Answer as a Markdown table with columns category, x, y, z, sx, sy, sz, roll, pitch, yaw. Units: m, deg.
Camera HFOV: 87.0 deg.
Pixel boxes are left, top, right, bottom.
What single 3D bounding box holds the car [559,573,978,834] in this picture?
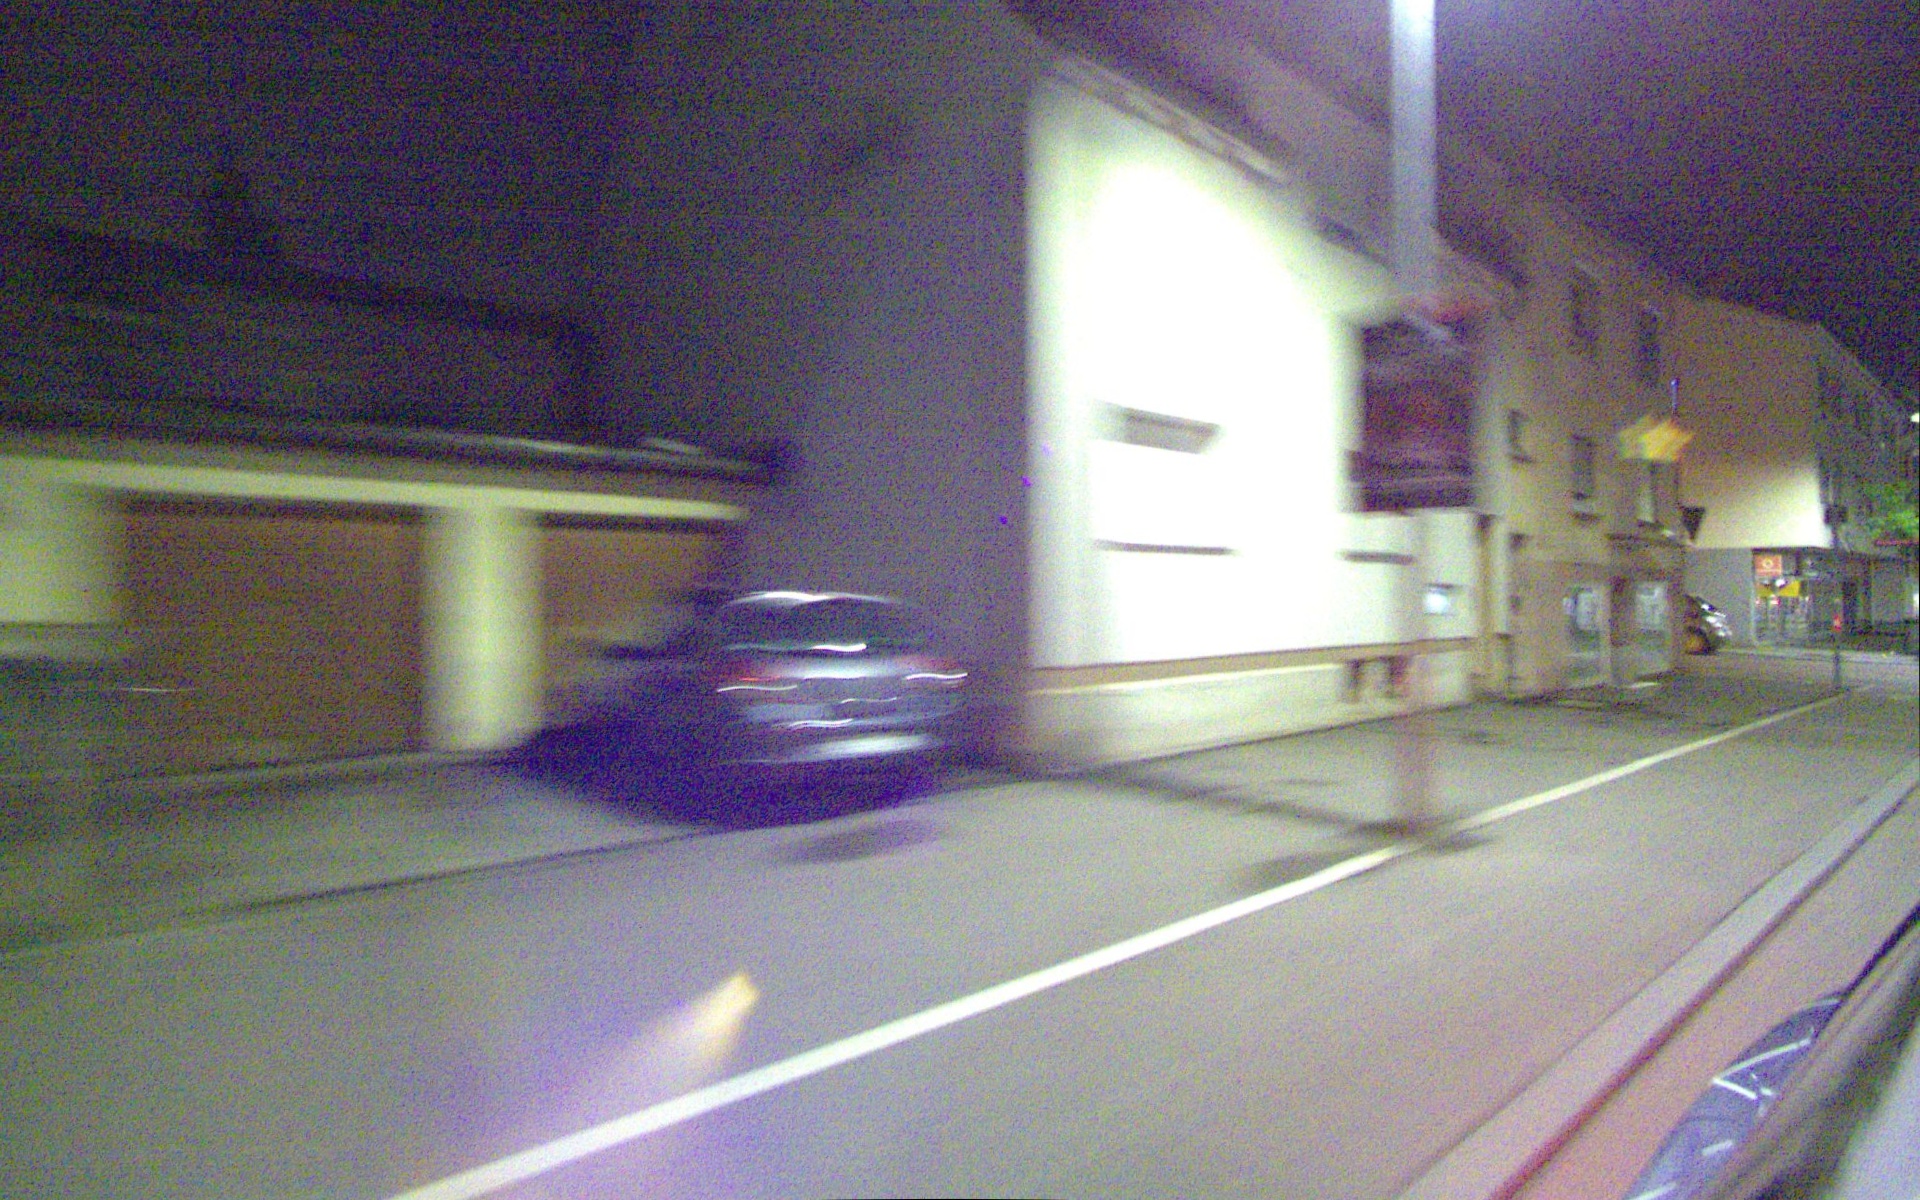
| category | x | y | z | sx | sy | sz | roll | pitch | yaw |
| --- | --- | --- | --- | --- | --- | --- | --- | --- | --- |
| car | -1.674 | 0.573 | 7.794 | 1.699 | 1.491 | 3.721 | 0 | 0 | -37 |

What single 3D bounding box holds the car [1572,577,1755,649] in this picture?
| category | x | y | z | sx | sy | sz | roll | pitch | yaw |
| --- | --- | --- | --- | --- | --- | --- | --- | --- | --- |
| car | 18.180 | 0.282 | 26.267 | 1.789 | 1.543 | 3.513 | 0 | 4 | -41 |
